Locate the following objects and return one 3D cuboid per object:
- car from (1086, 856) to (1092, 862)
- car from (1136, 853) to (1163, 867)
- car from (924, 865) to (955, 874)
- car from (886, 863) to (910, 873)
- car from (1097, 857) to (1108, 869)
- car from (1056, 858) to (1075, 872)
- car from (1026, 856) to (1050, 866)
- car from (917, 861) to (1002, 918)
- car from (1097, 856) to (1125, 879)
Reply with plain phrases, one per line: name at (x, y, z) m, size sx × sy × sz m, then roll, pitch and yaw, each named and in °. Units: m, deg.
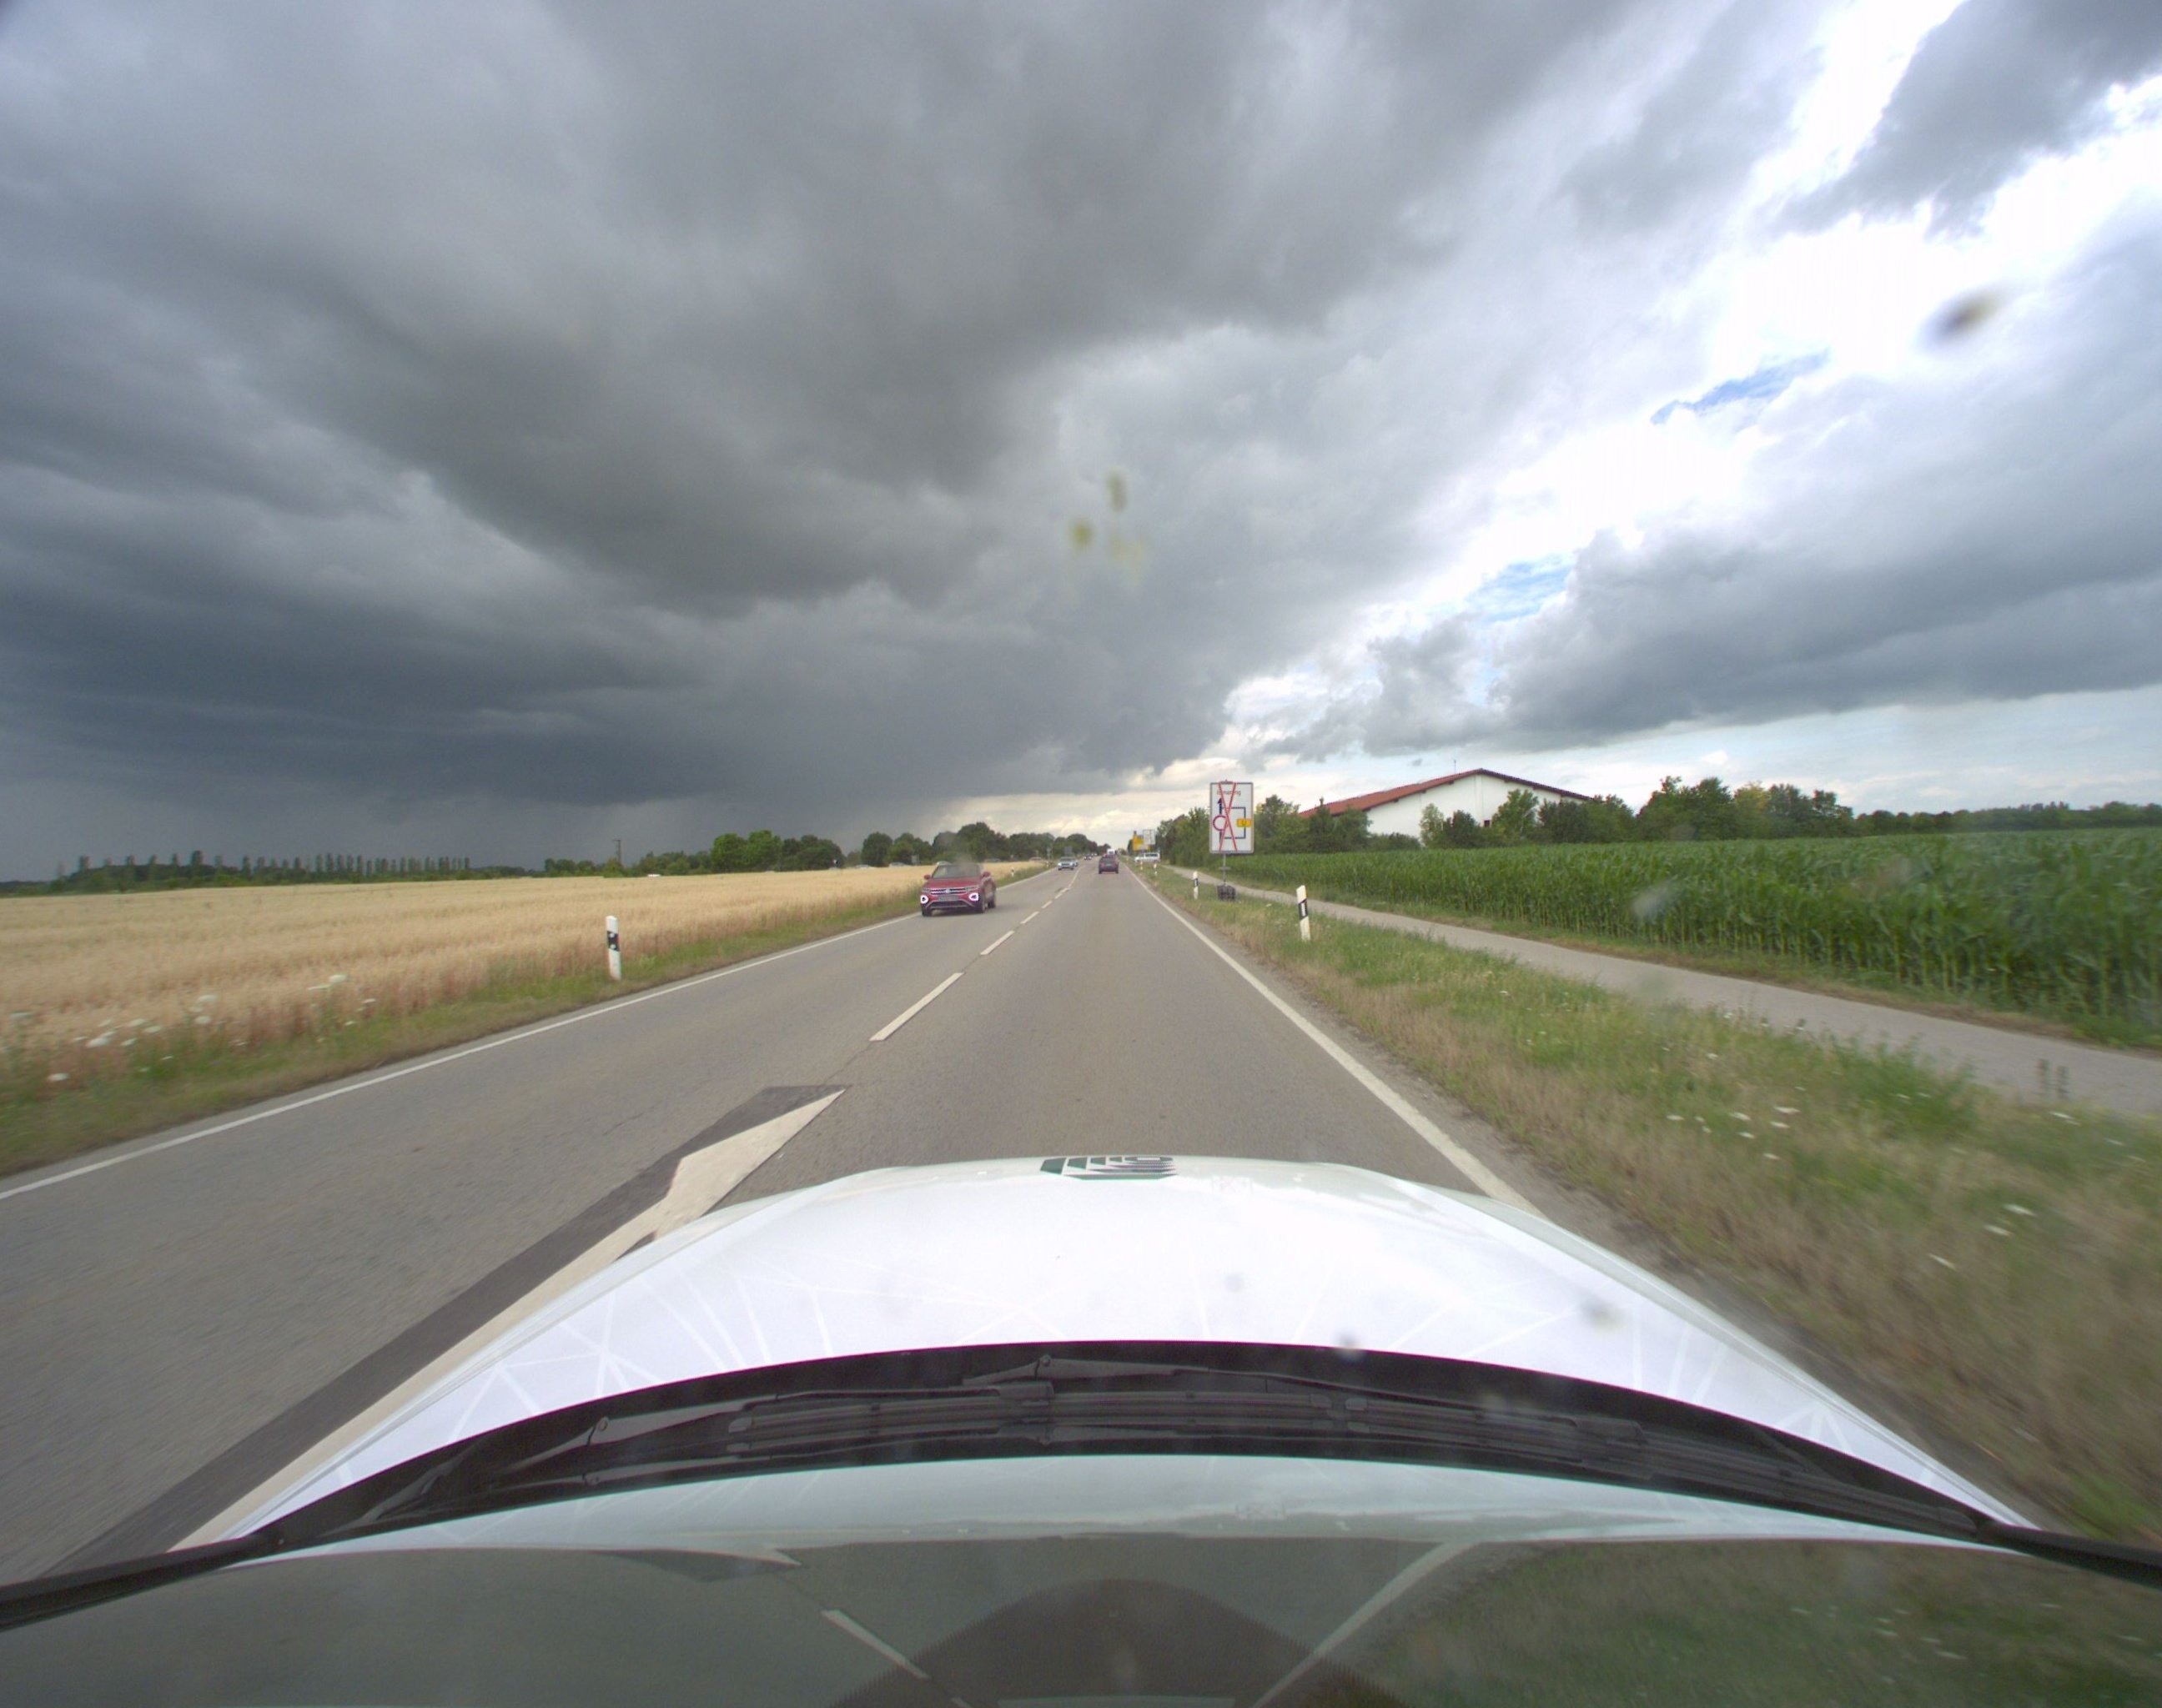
car at (2.143, 1.337, 217.546) m, size 1.639 × 1.590 × 4.002 m, roll -2°, pitch -1°, yaw 2°
car at (12.831, 1.099, 152.324) m, size 4.822 × 2.452 × 2.004 m, roll -2°, pitch -1°, yaw -1°
car at (-26.224, 2.861, 150.898) m, size 5.281 × 1.649 × 1.869 m, roll -2°, pitch -1°, yaw 6°
car at (-33.981, 2.560, 151.293) m, size 4.051 × 1.649 × 1.869 m, roll -2°, pitch -1°, yaw 6°
car at (3.177, 1.314, 119.190) m, size 1.565 × 1.701 × 4.002 m, roll -2°, pitch -1°, yaw 2°
car at (-1.953, 1.358, 102.708) m, size 2.057 × 1.580 × 4.767 m, roll -3°, pitch 0°, yaw 2°
car at (-7.867, 1.296, 148.864) m, size 4.403 × 1.649 × 1.500 m, roll -2°, pitch -1°, yaw -3°
car at (-3.600, 1.009, 24.883) m, size 1.706 × 1.488 × 4.610 m, roll -2°, pitch 0°, yaw 2°
car at (2.749, 1.254, 75.609) m, size 2.365 × 1.880 × 4.476 m, roll -3°, pitch -1°, yaw 0°
